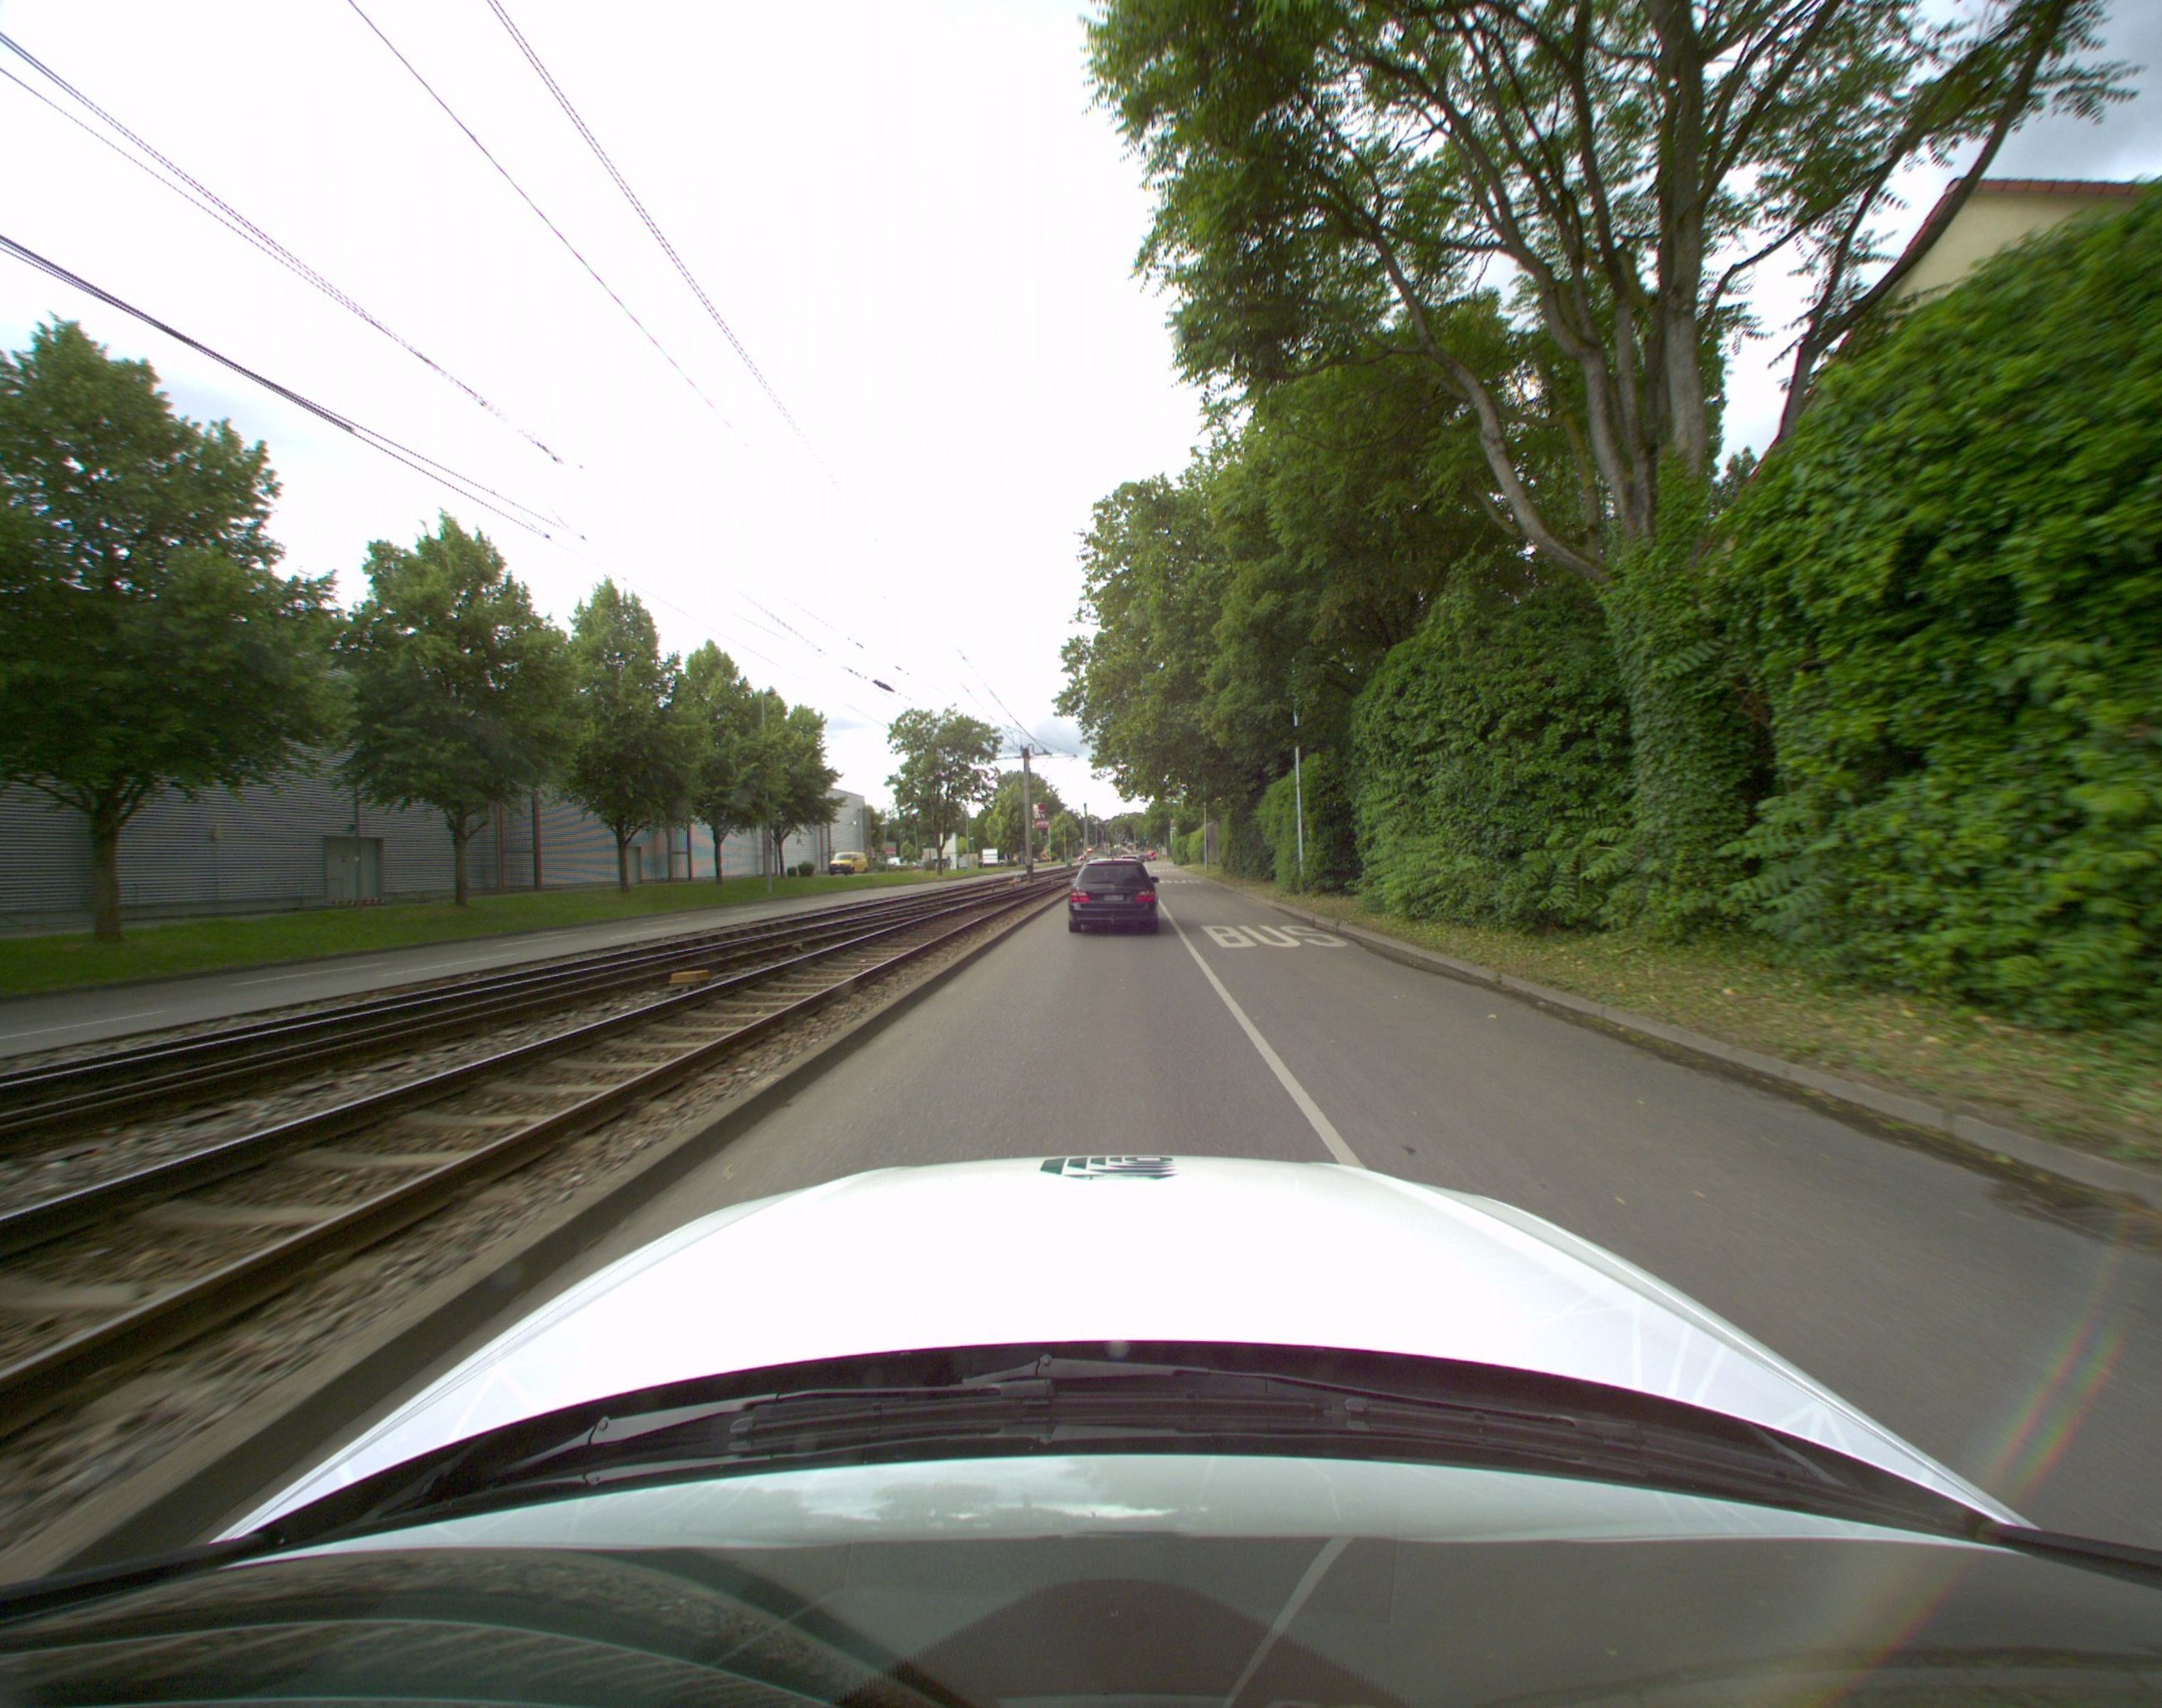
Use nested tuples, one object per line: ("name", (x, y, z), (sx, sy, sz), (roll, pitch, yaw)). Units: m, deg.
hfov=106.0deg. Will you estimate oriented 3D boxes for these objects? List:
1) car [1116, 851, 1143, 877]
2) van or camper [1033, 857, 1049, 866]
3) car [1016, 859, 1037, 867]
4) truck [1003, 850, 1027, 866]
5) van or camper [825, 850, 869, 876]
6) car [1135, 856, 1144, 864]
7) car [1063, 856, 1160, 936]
("car", (3.330, 0.688, 55.811), (1.772, 1.750, 3.722), (0, -1, 4))
("van or camper", (-9.788, 1.815, 200.081), (3.974, 2.135, 1.878), (-1, 0, -1))
("car", (-11.537, 1.913, 173.668), (4.290, 1.472, 1.681), (-2, 0, 2))
("truck", (-12.257, 0.778, 151.104), (3.972, 2.821, 2.377), (-2, 0, 1))
("van or camper", (-19.682, 0.750, 68.694), (2.096, 2.013, 5.243), (-2, 0, 1))
("car", (10.738, 1.097, 149.902), (1.564, 1.414, 3.358), (0, -1, 4))
("car", (0.713, 0.791, 17.129), (1.800, 1.474, 3.885), (-1, 0, 4))
